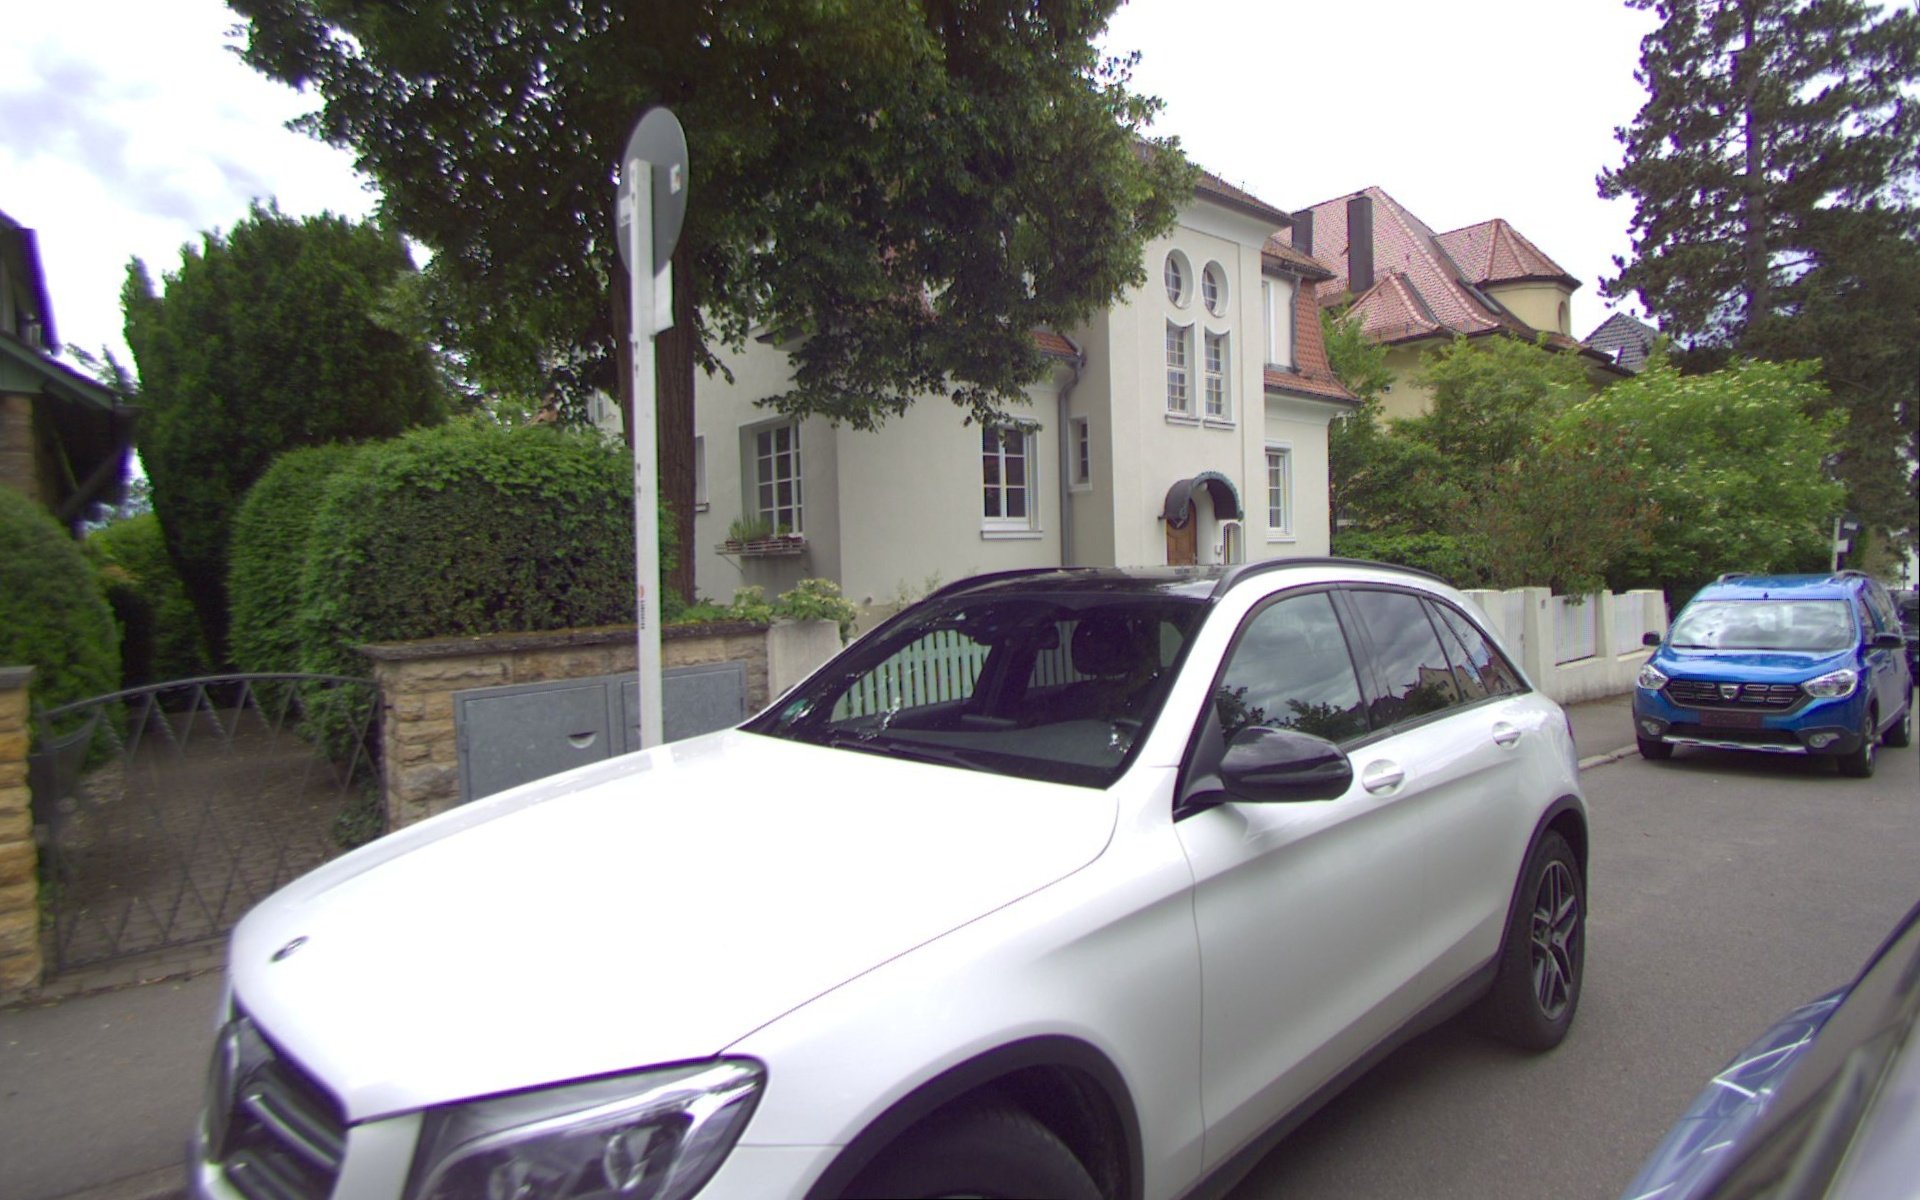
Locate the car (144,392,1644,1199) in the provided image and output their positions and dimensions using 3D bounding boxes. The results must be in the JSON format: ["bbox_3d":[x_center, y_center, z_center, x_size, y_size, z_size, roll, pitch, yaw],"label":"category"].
[{"bbox_3d":[0.482,0.639,3.083,4.499,1.626,1.758,0,-1,-44],"label":"car"}]

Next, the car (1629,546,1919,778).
[{"bbox_3d":[8.294,0.523,10.060,4.084,1.853,1.685,0,-2,-41],"label":"car"}]

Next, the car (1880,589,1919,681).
[{"bbox_3d":[18.998,0.597,19.205,4.004,1.628,1.752,-1,-1,-41],"label":"car"}]

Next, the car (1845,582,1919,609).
[{"bbox_3d":[51.449,-0.240,55.262,1.728,1.468,4.365,-1,0,-27],"label":"car"}]
